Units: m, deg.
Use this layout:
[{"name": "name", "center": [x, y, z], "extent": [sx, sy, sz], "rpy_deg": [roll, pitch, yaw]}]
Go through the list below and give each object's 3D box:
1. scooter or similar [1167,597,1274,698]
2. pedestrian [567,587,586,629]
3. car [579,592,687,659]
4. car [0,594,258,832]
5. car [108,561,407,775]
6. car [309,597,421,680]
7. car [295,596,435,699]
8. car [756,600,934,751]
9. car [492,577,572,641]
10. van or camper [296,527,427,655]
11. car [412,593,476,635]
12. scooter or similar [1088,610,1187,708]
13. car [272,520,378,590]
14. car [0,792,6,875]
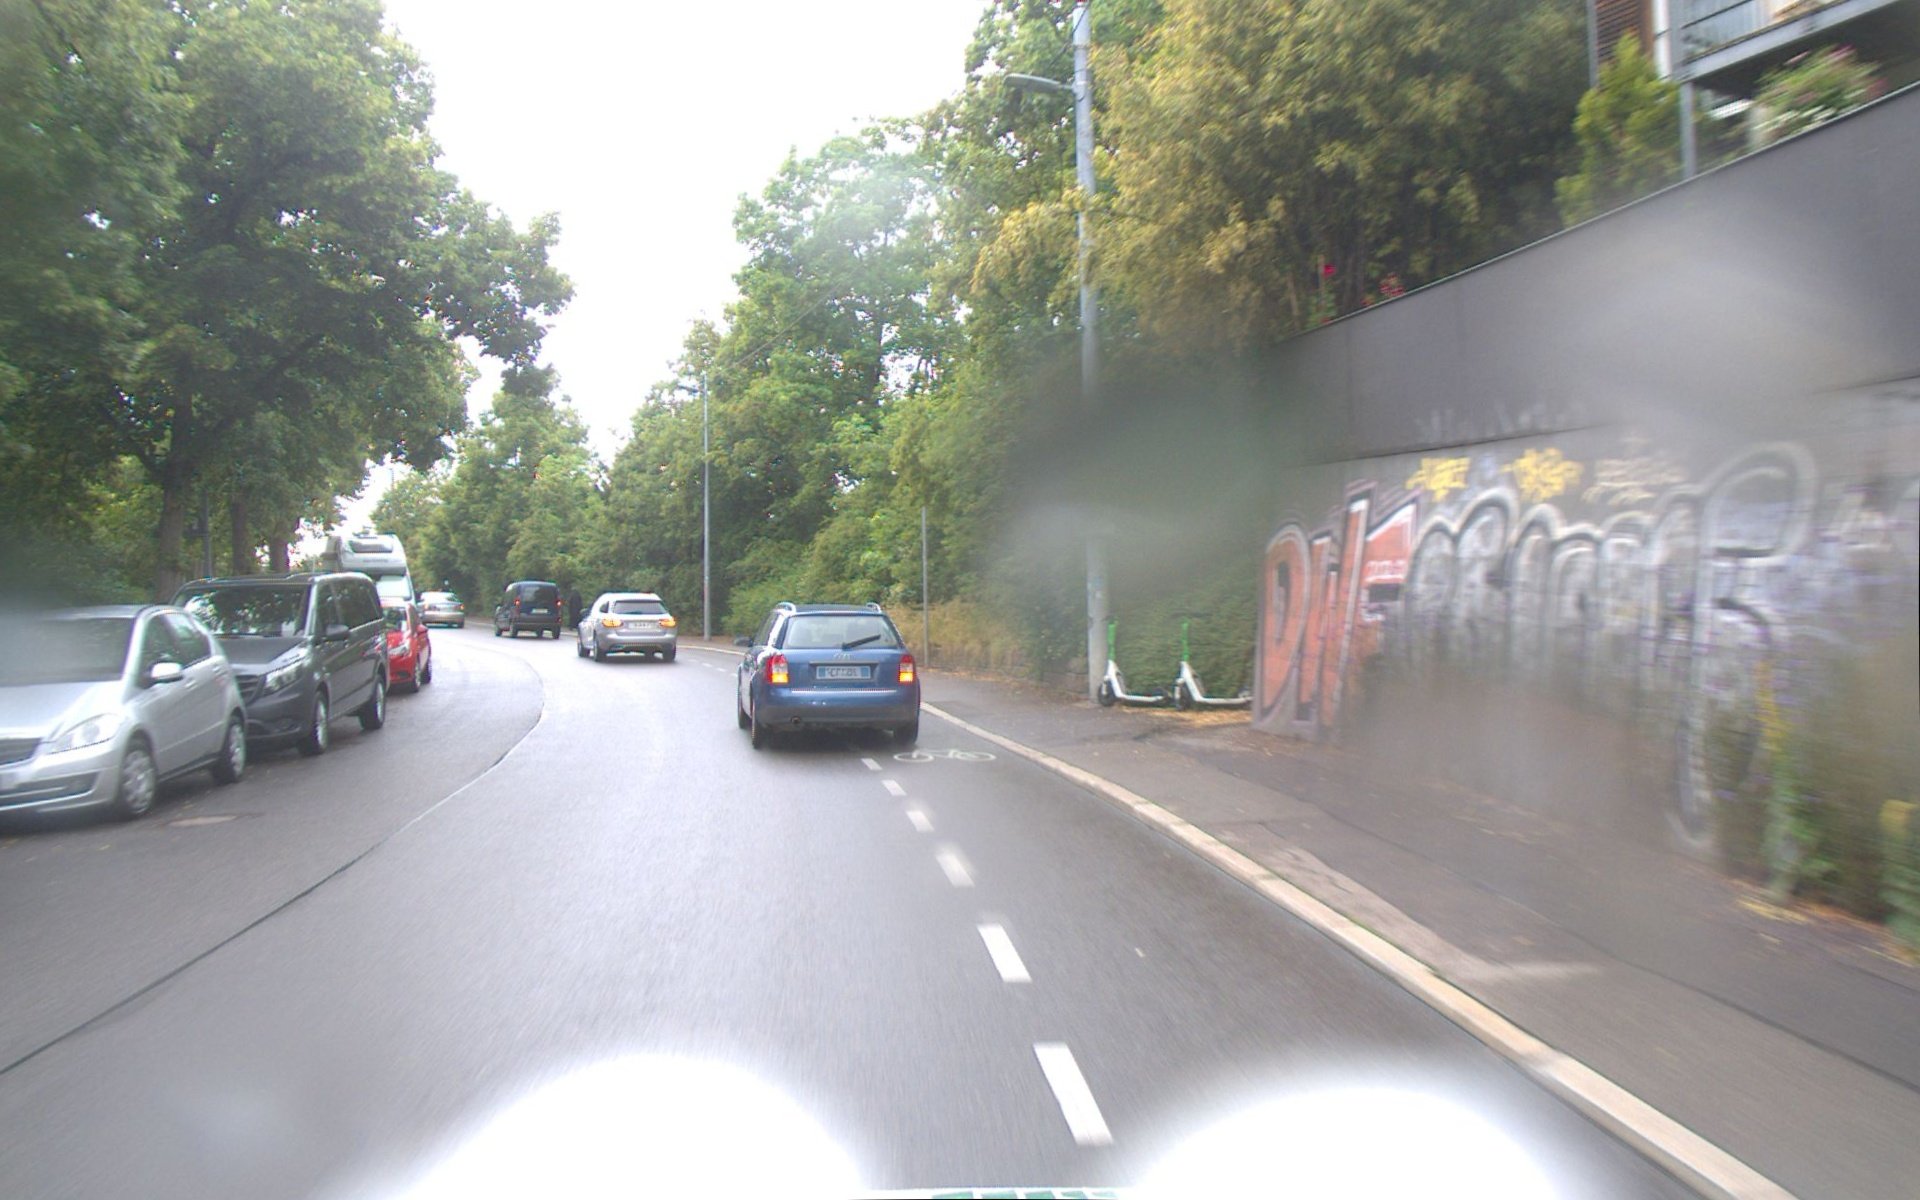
[{"name": "scooter or similar", "center": [3.017, 0.537, 19.230], "extent": [0.343, 1.137, 1.404], "rpy_deg": [0, -1, -36]}, {"name": "pedestrian", "center": [-14.439, 0.290, 62.211], "extent": [0.587, 1.594, 0.664], "rpy_deg": [0, 0, -23]}, {"name": "car", "center": [-7.431, 0.527, 37.280], "extent": [1.862, 1.413, 3.978], "rpy_deg": [0, 0, -19]}, {"name": "car", "center": [-6.996, 0.821, 13.221], "extent": [1.653, 1.579, 3.757], "rpy_deg": [-4, 0, -10]}, {"name": "car", "center": [-7.861, 0.617, 19.081], "extent": [1.919, 2.001, 4.991], "rpy_deg": [-4, 2, -9]}, {"name": "car", "center": [-12.022, 0.734, 33.627], "extent": [1.924, 1.432, 3.527], "rpy_deg": [-3, 2, -18]}, {"name": "car", "center": [-10.247, 0.748, 28.761], "extent": [1.923, 1.486, 4.555], "rpy_deg": [-3, 2, -16]}, {"name": "car", "center": [-1.351, 0.724, 17.961], "extent": [1.714, 1.432, 3.994], "rpy_deg": [0, 0, -7]}, {"name": "car", "center": [-14.469, 0.335, 55.771], "extent": [1.767, 1.987, 3.966], "rpy_deg": [-4, 0, -26]}, {"name": "van or camper", "center": [-16.072, -0.241, 44.149], "extent": [2.476, 3.079, 6.505], "rpy_deg": [-3, 1, -26]}, {"name": "car", "center": [-21.230, 0.564, 67.975], "extent": [1.802, 1.645, 3.748], "rpy_deg": [-1, 0, -29]}, {"name": "scooter or similar", "center": [2.179, 0.705, 20.445], "extent": [0.343, 1.136, 1.407], "rpy_deg": [-8, 4, -31]}, {"name": "car", "center": [-14.376, -1.001, 37.636], "extent": [1.924, 1.432, 4.187], "rpy_deg": [-3, 2, -17]}, {"name": "car", "center": [-6.351, 0.911, 7.609], "extent": [1.651, 1.536, 4.202], "rpy_deg": [-4, 0, -5]}]
